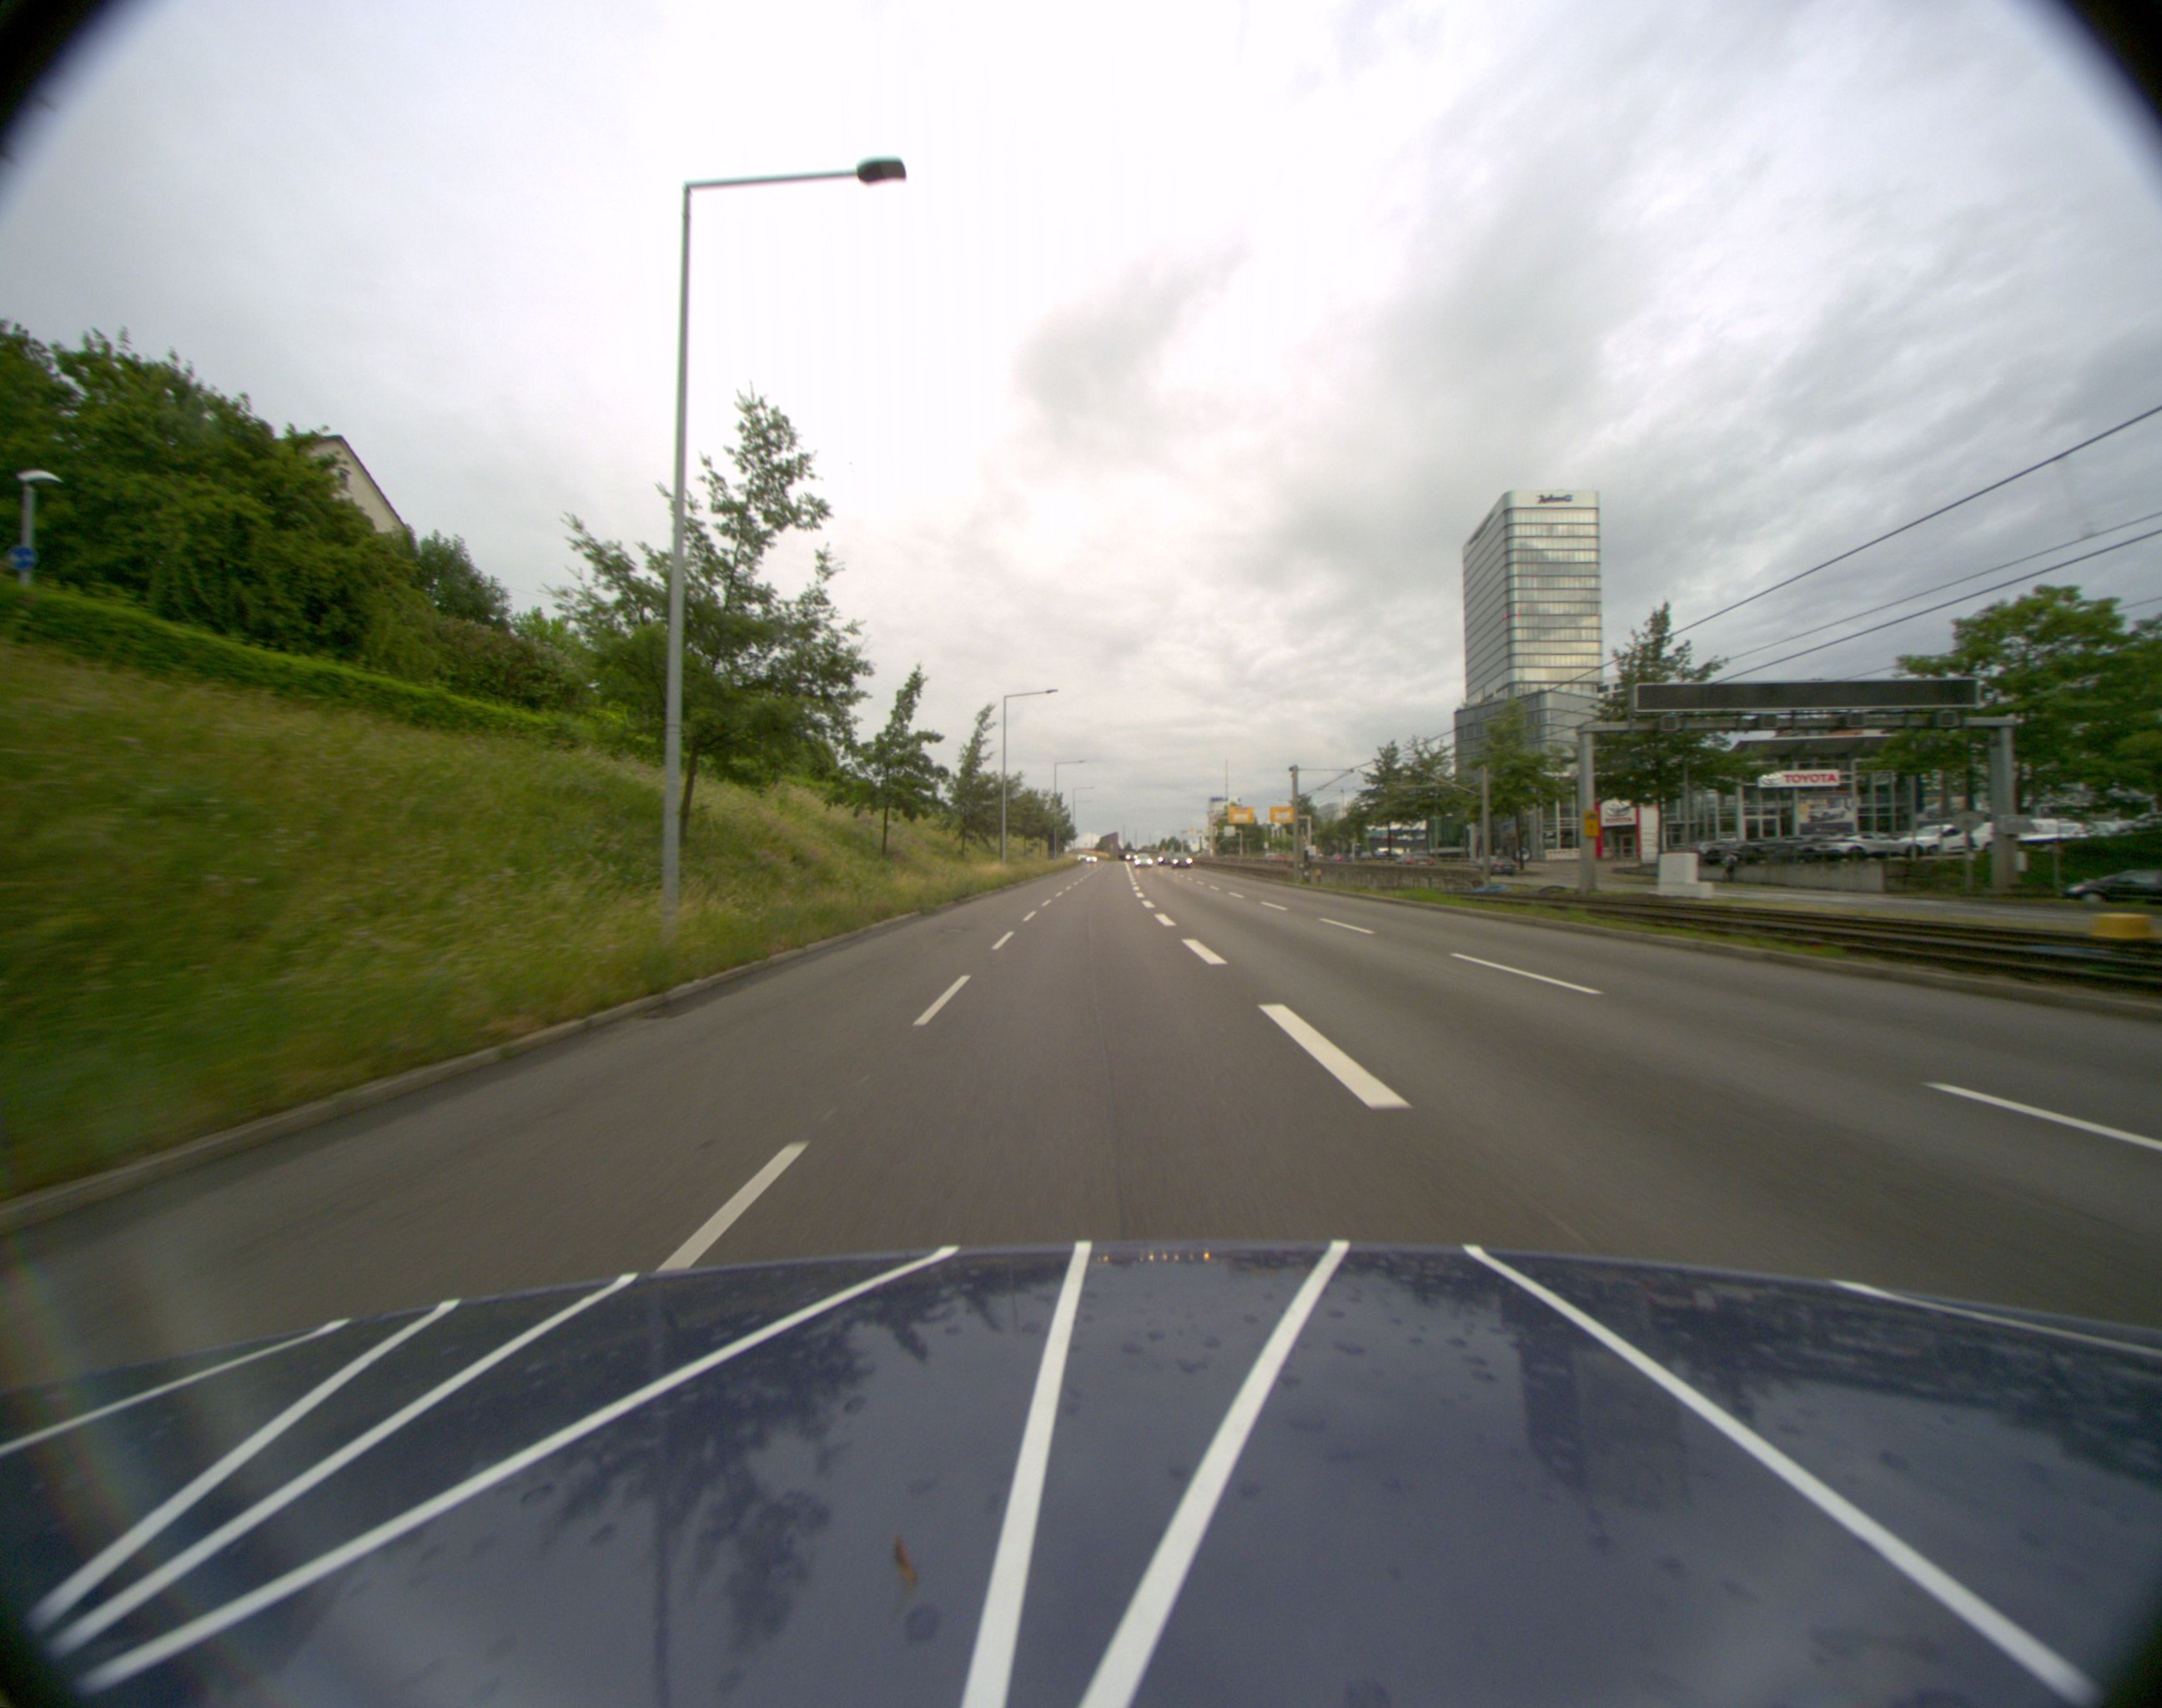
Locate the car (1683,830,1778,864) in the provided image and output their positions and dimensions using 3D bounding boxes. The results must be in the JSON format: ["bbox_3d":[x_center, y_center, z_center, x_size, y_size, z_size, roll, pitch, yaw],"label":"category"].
[{"bbox_3d":[41.643,-0.456,48.802,4.362,1.936,1.885,-2,1,5],"label":"car"}]

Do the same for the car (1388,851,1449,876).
[{"bbox_3d":[22.406,0.631,50.704,2.052,1.530,4.760,-2,-1,2],"label":"car"}]

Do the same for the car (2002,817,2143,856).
[{"bbox_3d":[50.472,-0.888,38.756,4.362,1.804,1.886,-2,1,7],"label":"car"}]

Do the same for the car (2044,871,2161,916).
[{"bbox_3d":[38.691,1.414,27.585,4.355,1.495,1.889,-1,1,42],"label":"car"}]

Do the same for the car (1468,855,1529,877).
[{"bbox_3d":[30.630,0.862,55.915,2.052,1.520,4.569,-2,-1,3],"label":"car"}]

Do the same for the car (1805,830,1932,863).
[{"bbox_3d":[40.996,-0.388,39.645,4.362,1.495,1.886,-2,1,7],"label":"car"}]

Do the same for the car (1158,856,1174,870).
[{"bbox_3d":[10.141,1.029,90.892,1.793,1.535,4.378,-2,1,6],"label":"car"}]

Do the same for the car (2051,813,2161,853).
[{"bbox_3d":[50.280,-1.023,36.590,4.362,1.804,1.886,-2,1,7],"label":"car"}]

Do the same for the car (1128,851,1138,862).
[{"bbox_3d":[9.544,0.473,139.495,1.793,1.858,4.378,-2,1,6],"label":"car"}]

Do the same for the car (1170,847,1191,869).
[{"bbox_3d":[9.469,0.347,72.450,1.793,1.858,4.378,-2,1,6],"label":"car"}]

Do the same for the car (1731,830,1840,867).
[{"bbox_3d":[41.042,-0.316,44.362,4.362,1.936,1.886,-2,1,7],"label":"car"}]

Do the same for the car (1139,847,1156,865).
[{"bbox_3d":[7.220,0.204,82.492,1.793,1.858,4.378,-2,1,6],"label":"car"}]

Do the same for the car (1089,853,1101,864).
[{"bbox_3d":[2.438,0.788,131.783,1.793,1.621,4.378,-2,1,6],"label":"car"}]

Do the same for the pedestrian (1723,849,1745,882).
[{"bbox_3d":[35.873,0.642,41.744,0.688,1.786,0.637,-2,1,4],"label":"pedestrian"}]

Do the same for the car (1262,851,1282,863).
[{"bbox_3d":[24.782,0.345,98.736,1.793,1.392,4.876,-2,1,4],"label":"car"}]

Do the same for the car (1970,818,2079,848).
[{"bbox_3d":[55.786,-1.250,44.988,3.916,1.584,1.803,-2,1,7],"label":"car"}]

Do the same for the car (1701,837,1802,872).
[{"bbox_3d":[41.144,0.006,46.706,4.362,1.936,1.886,-2,1,7],"label":"car"}]

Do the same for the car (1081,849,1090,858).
[{"bbox_3d":[0.960,-0.074,154.860,1.794,1.621,4.377,-2,1,2],"label":"car"}]

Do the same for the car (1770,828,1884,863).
[{"bbox_3d":[40.881,-0.462,41.718,4.195,1.762,1.886,-2,1,7],"label":"car"}]

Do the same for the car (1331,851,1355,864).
[{"bbox_3d":[30.680,0.374,89.043,1.770,1.302,4.112,-2,1,5],"label":"car"}]

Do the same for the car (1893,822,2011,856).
[{"bbox_3d":[50.548,-0.854,44.174,4.362,1.804,1.886,-2,1,7],"label":"car"}]
